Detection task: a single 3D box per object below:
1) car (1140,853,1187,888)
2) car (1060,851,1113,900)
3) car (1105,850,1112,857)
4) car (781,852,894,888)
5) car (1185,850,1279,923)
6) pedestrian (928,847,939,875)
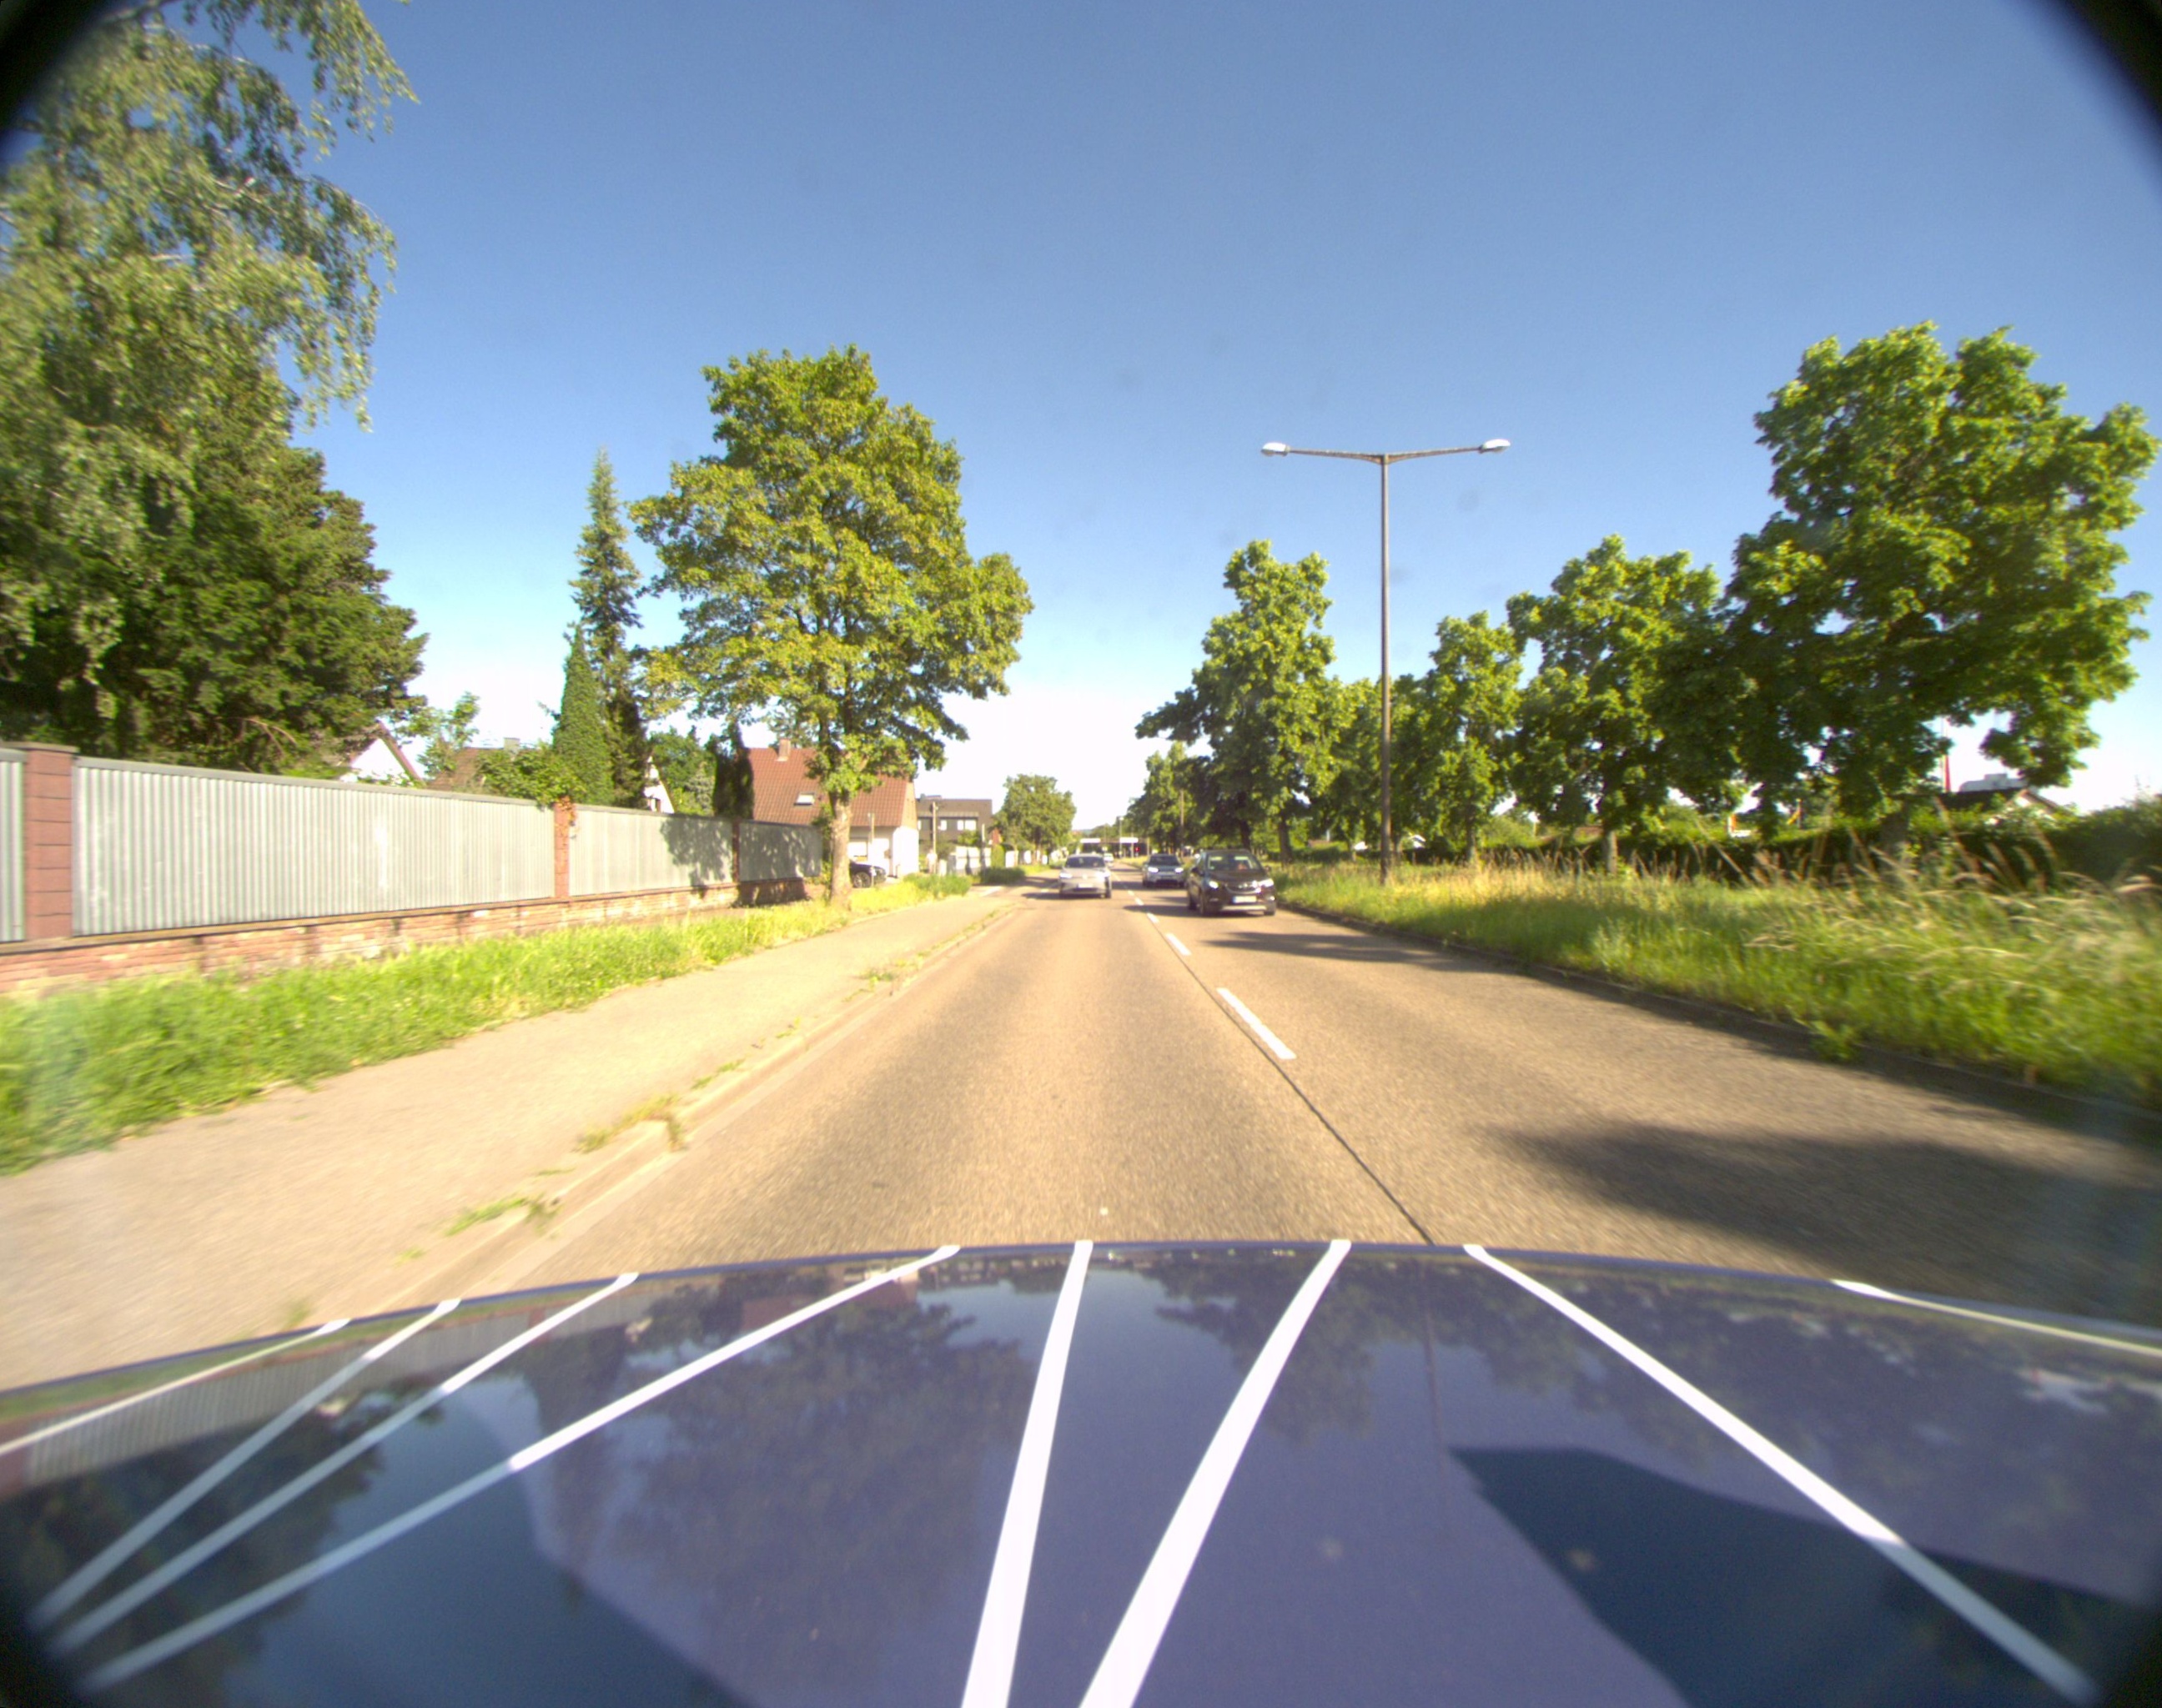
[{"bbox_3d":[3.954,0.752,36.807,1.830,1.604,4.092,-1,0,0],"label":"car"},{"bbox_3d":[0.263,0.732,28.364,1.801,1.665,4.239,-1,1,2],"label":"car"},{"bbox_3d":[6.676,-0.167,184.404,1.830,1.604,4.092,-1,0,1],"label":"car"},{"bbox_3d":[-11.504,0.727,36.144,4.756,1.647,2.070,0,0,-5],"label":"car"},{"bbox_3d":[3.746,0.752,19.464,1.713,1.653,3.856,-1,0,1],"label":"car"},{"bbox_3d":[-9.212,0.422,47.430,0.630,1.698,0.613,-1,1,-12],"label":"pedestrian"}]
